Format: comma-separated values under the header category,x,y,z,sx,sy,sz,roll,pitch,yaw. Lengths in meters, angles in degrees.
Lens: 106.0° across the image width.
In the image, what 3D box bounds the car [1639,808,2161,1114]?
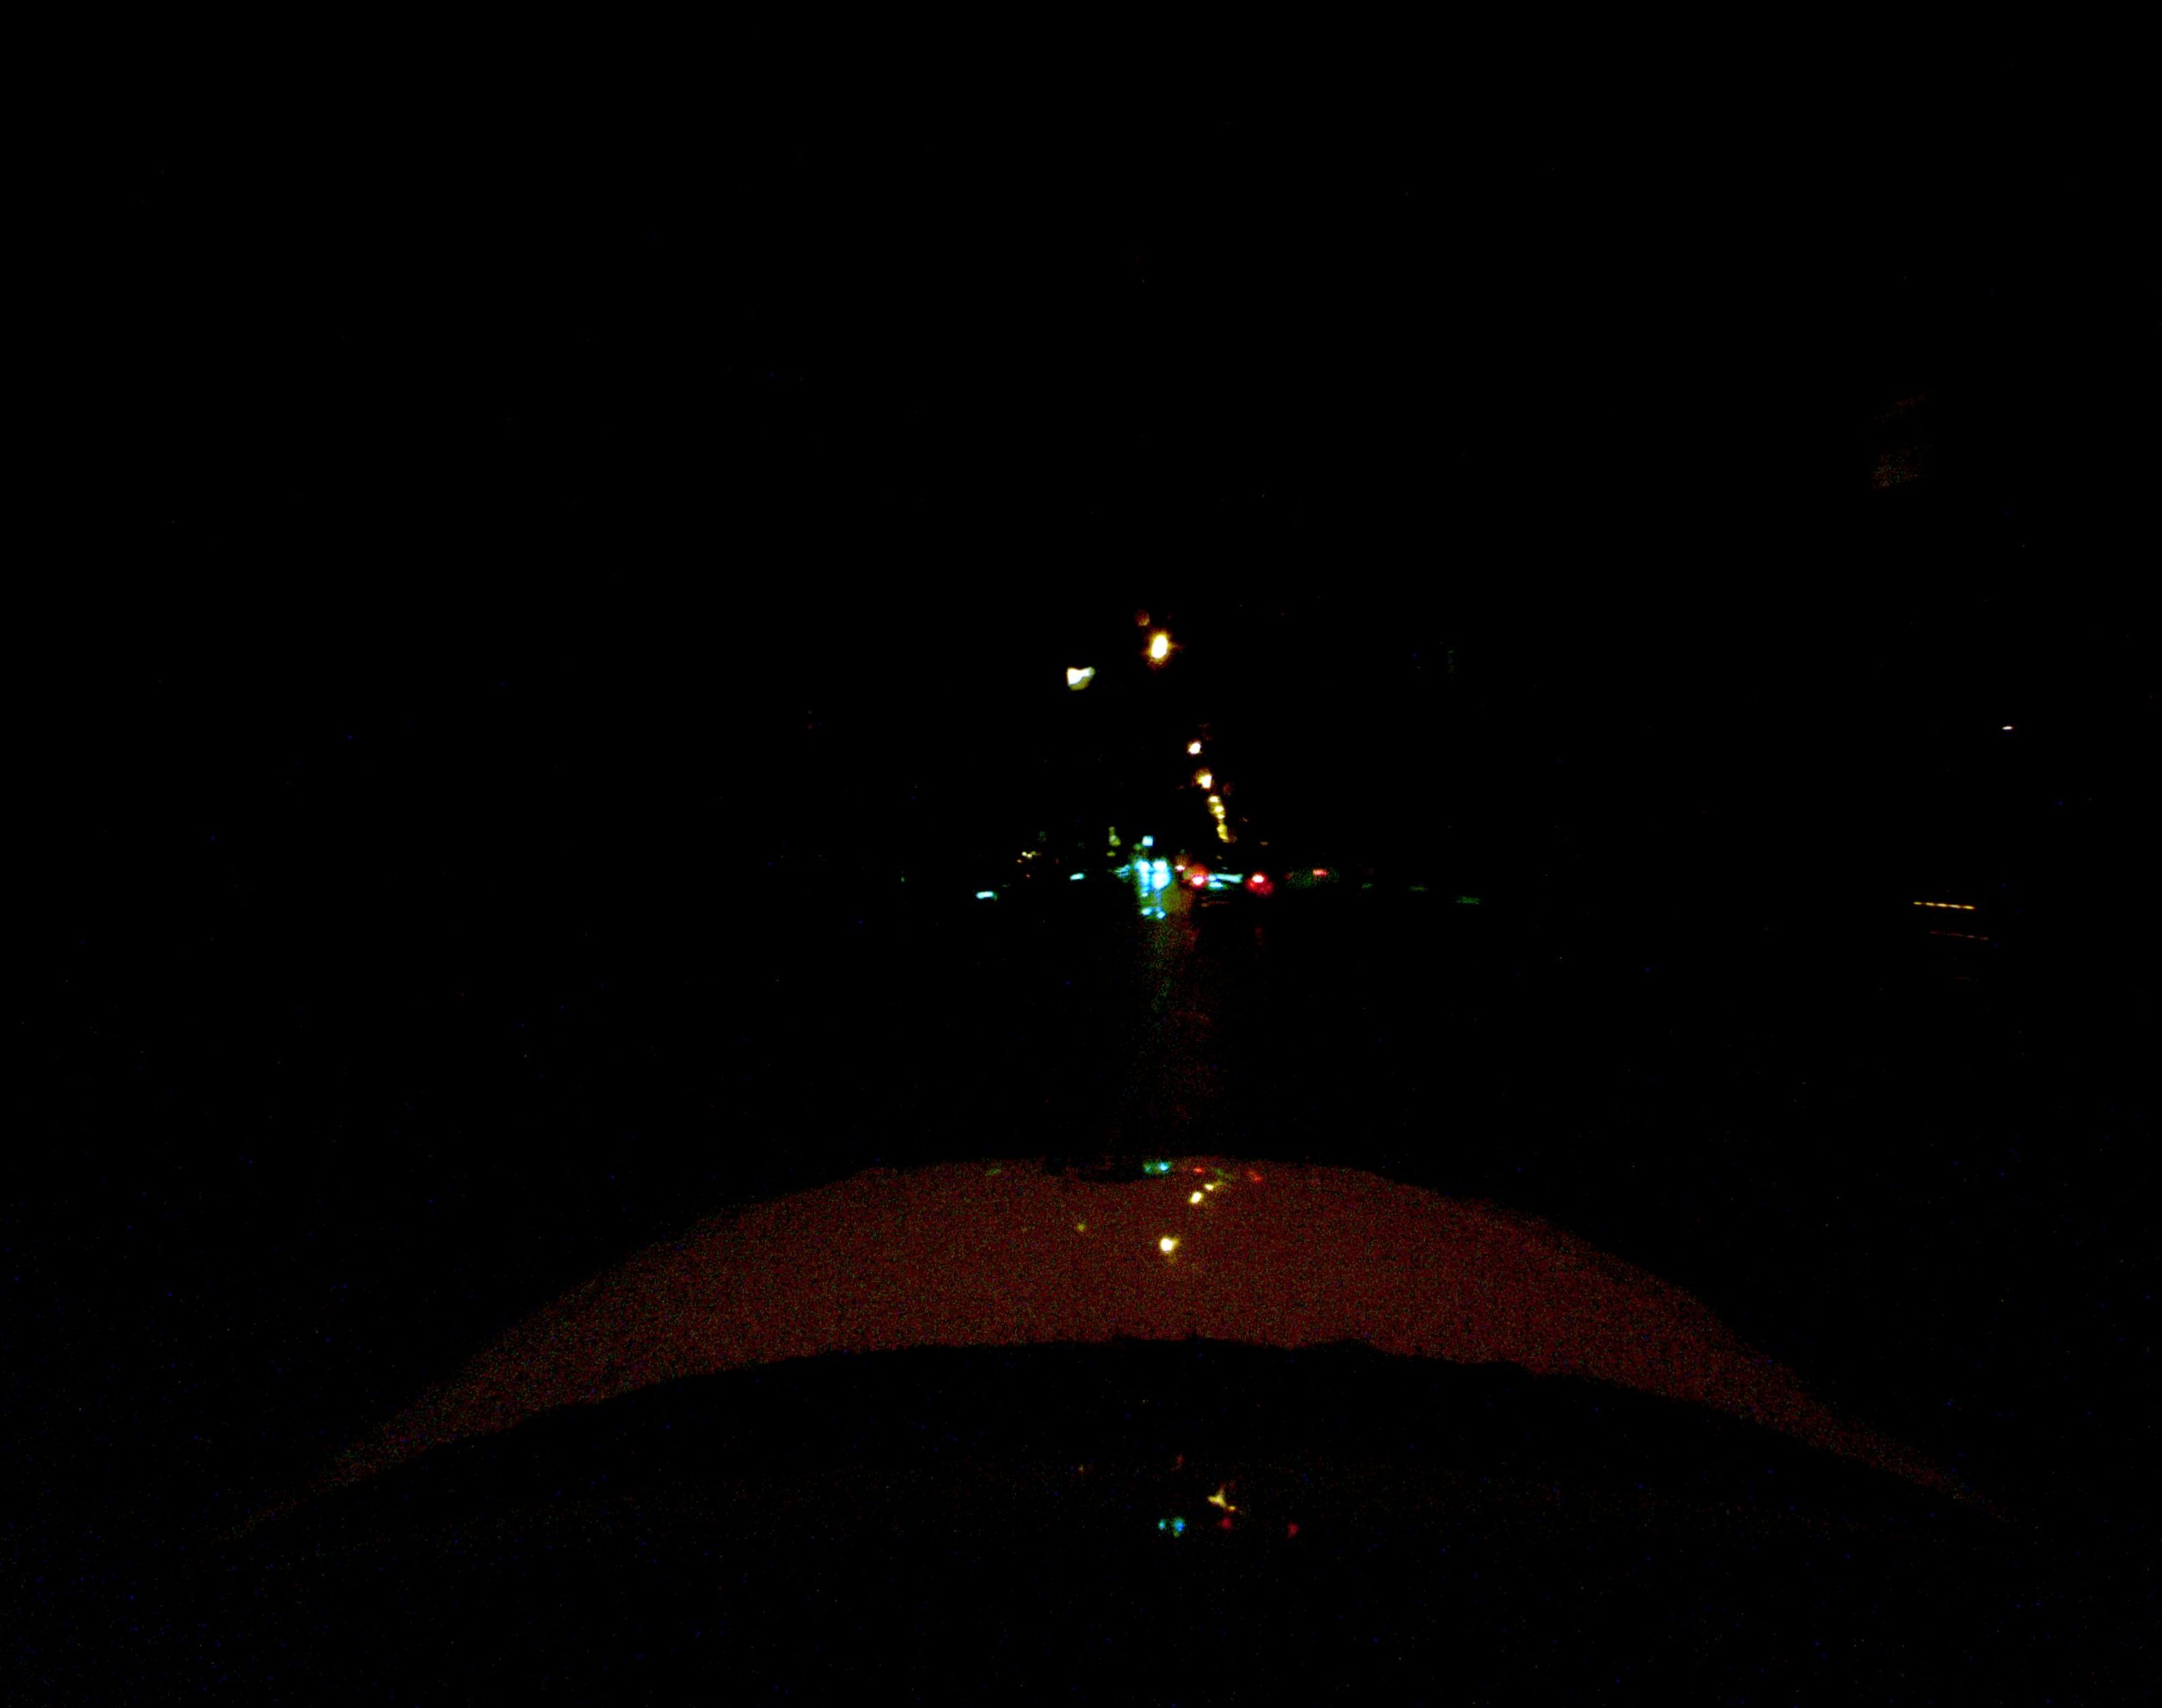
category,x,y,z,sx,sy,sz,roll,pitch,yaw
car,5.805,0.532,5.718,3.404,1.561,1.624,-2,-1,-26

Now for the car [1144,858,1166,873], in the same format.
category,x,y,z,sx,sy,sz,roll,pitch,yaw
car,7.059,1.064,77.237,1.643,1.359,4.234,-1,0,11

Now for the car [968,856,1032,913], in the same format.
category,x,y,z,sx,sy,sz,roll,pitch,yaw
car,-2.777,0.951,27.137,1.812,1.670,4.396,-2,0,-9

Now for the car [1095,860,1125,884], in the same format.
category,x,y,z,sx,sy,sz,roll,pitch,yaw
car,1.863,1.097,51.526,1.537,1.443,3.571,0,0,8

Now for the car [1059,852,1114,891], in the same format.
category,x,y,z,sx,sy,sz,roll,pitch,yaw
car,0.362,0.858,42.472,1.854,1.846,4.842,-2,-1,11

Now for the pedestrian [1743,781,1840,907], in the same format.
category,x,y,z,sx,sy,sz,roll,pitch,yaw
pedestrian,10.974,-0.164,12.603,0.741,1.840,0.845,-4,1,9

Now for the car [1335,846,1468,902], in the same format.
category,x,y,z,sx,sy,sz,roll,pitch,yaw
car,9.486,0.575,24.148,3.456,1.468,1.618,-2,-1,-21

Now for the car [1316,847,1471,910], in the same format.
category,x,y,z,sx,sy,sz,roll,pitch,yaw
car,8.335,0.620,21.755,3.732,1.468,1.602,-2,-1,-21

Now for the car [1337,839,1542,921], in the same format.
category,x,y,z,sx,sy,sz,roll,pitch,yaw
car,7.986,0.538,18.185,4.051,1.561,1.739,-2,-1,-19

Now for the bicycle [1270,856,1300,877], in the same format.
category,x,y,z,sx,sy,sz,roll,pitch,yaw
bicycle,11.801,0.711,47.147,1.587,1.112,0.418,-3,-1,7

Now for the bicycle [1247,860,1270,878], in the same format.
category,x,y,z,sx,sy,sz,roll,pitch,yaw
bicycle,10.264,0.867,47.114,1.204,0.948,0.303,-2,-1,6

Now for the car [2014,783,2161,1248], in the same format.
category,x,y,z,sx,sy,sz,roll,pitch,yaw
car,5.407,0.476,2.978,3.487,1.561,1.624,-2,-1,-24

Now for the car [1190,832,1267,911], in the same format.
category,x,y,z,sx,sy,sz,roll,pitch,yaw
car,4.255,0.487,23.414,1.981,2.050,4.012,-1,-1,11

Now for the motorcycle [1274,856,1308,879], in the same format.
category,x,y,z,sx,sy,sz,roll,pitch,yaw
motorcycle,11.230,0.729,43.597,1.625,1.124,0.653,-4,-1,3

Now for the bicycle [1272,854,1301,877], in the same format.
category,x,y,z,sx,sy,sz,roll,pitch,yaw
bicycle,11.640,0.640,46.153,1.569,1.234,0.419,-3,-1,12

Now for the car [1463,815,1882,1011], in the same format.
category,x,y,z,sx,sy,sz,roll,pitch,yaw
car,6.335,0.511,8.797,3.803,1.689,1.823,-2,-1,-20

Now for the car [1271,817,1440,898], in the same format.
category,x,y,z,sx,sy,sz,roll,pitch,yaw
car,8.895,0.087,26.405,4.948,2.341,2.214,-2,-1,-24

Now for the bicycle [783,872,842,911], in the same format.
category,x,y,z,sx,sy,sz,roll,pitch,yaw
bicycle,-8.629,1.216,26.152,1.946,1.180,0.545,-3,-1,28

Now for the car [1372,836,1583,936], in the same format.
category,x,y,z,sx,sy,sz,roll,pitch,yaw
car,7.221,0.533,14.828,3.518,1.561,1.581,-2,-1,-26

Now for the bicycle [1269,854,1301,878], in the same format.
category,x,y,z,sx,sy,sz,roll,pitch,yaw
bicycle,11.446,0.661,45.660,1.653,1.234,0.387,-3,-1,12

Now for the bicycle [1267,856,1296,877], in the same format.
category,x,y,z,sx,sy,sz,roll,pitch,yaw
bicycle,11.826,0.750,48.101,1.587,1.158,0.418,-2,-1,7

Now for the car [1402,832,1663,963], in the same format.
category,x,y,z,sx,sy,sz,roll,pitch,yaw
car,6.426,0.537,11.575,3.405,1.561,1.580,-2,-1,-27

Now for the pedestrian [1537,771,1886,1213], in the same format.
category,x,y,z,sx,sy,sz,roll,pitch,yaw
pedestrian,2.888,0.567,3.912,0.817,1.770,1.181,-2,-1,10
